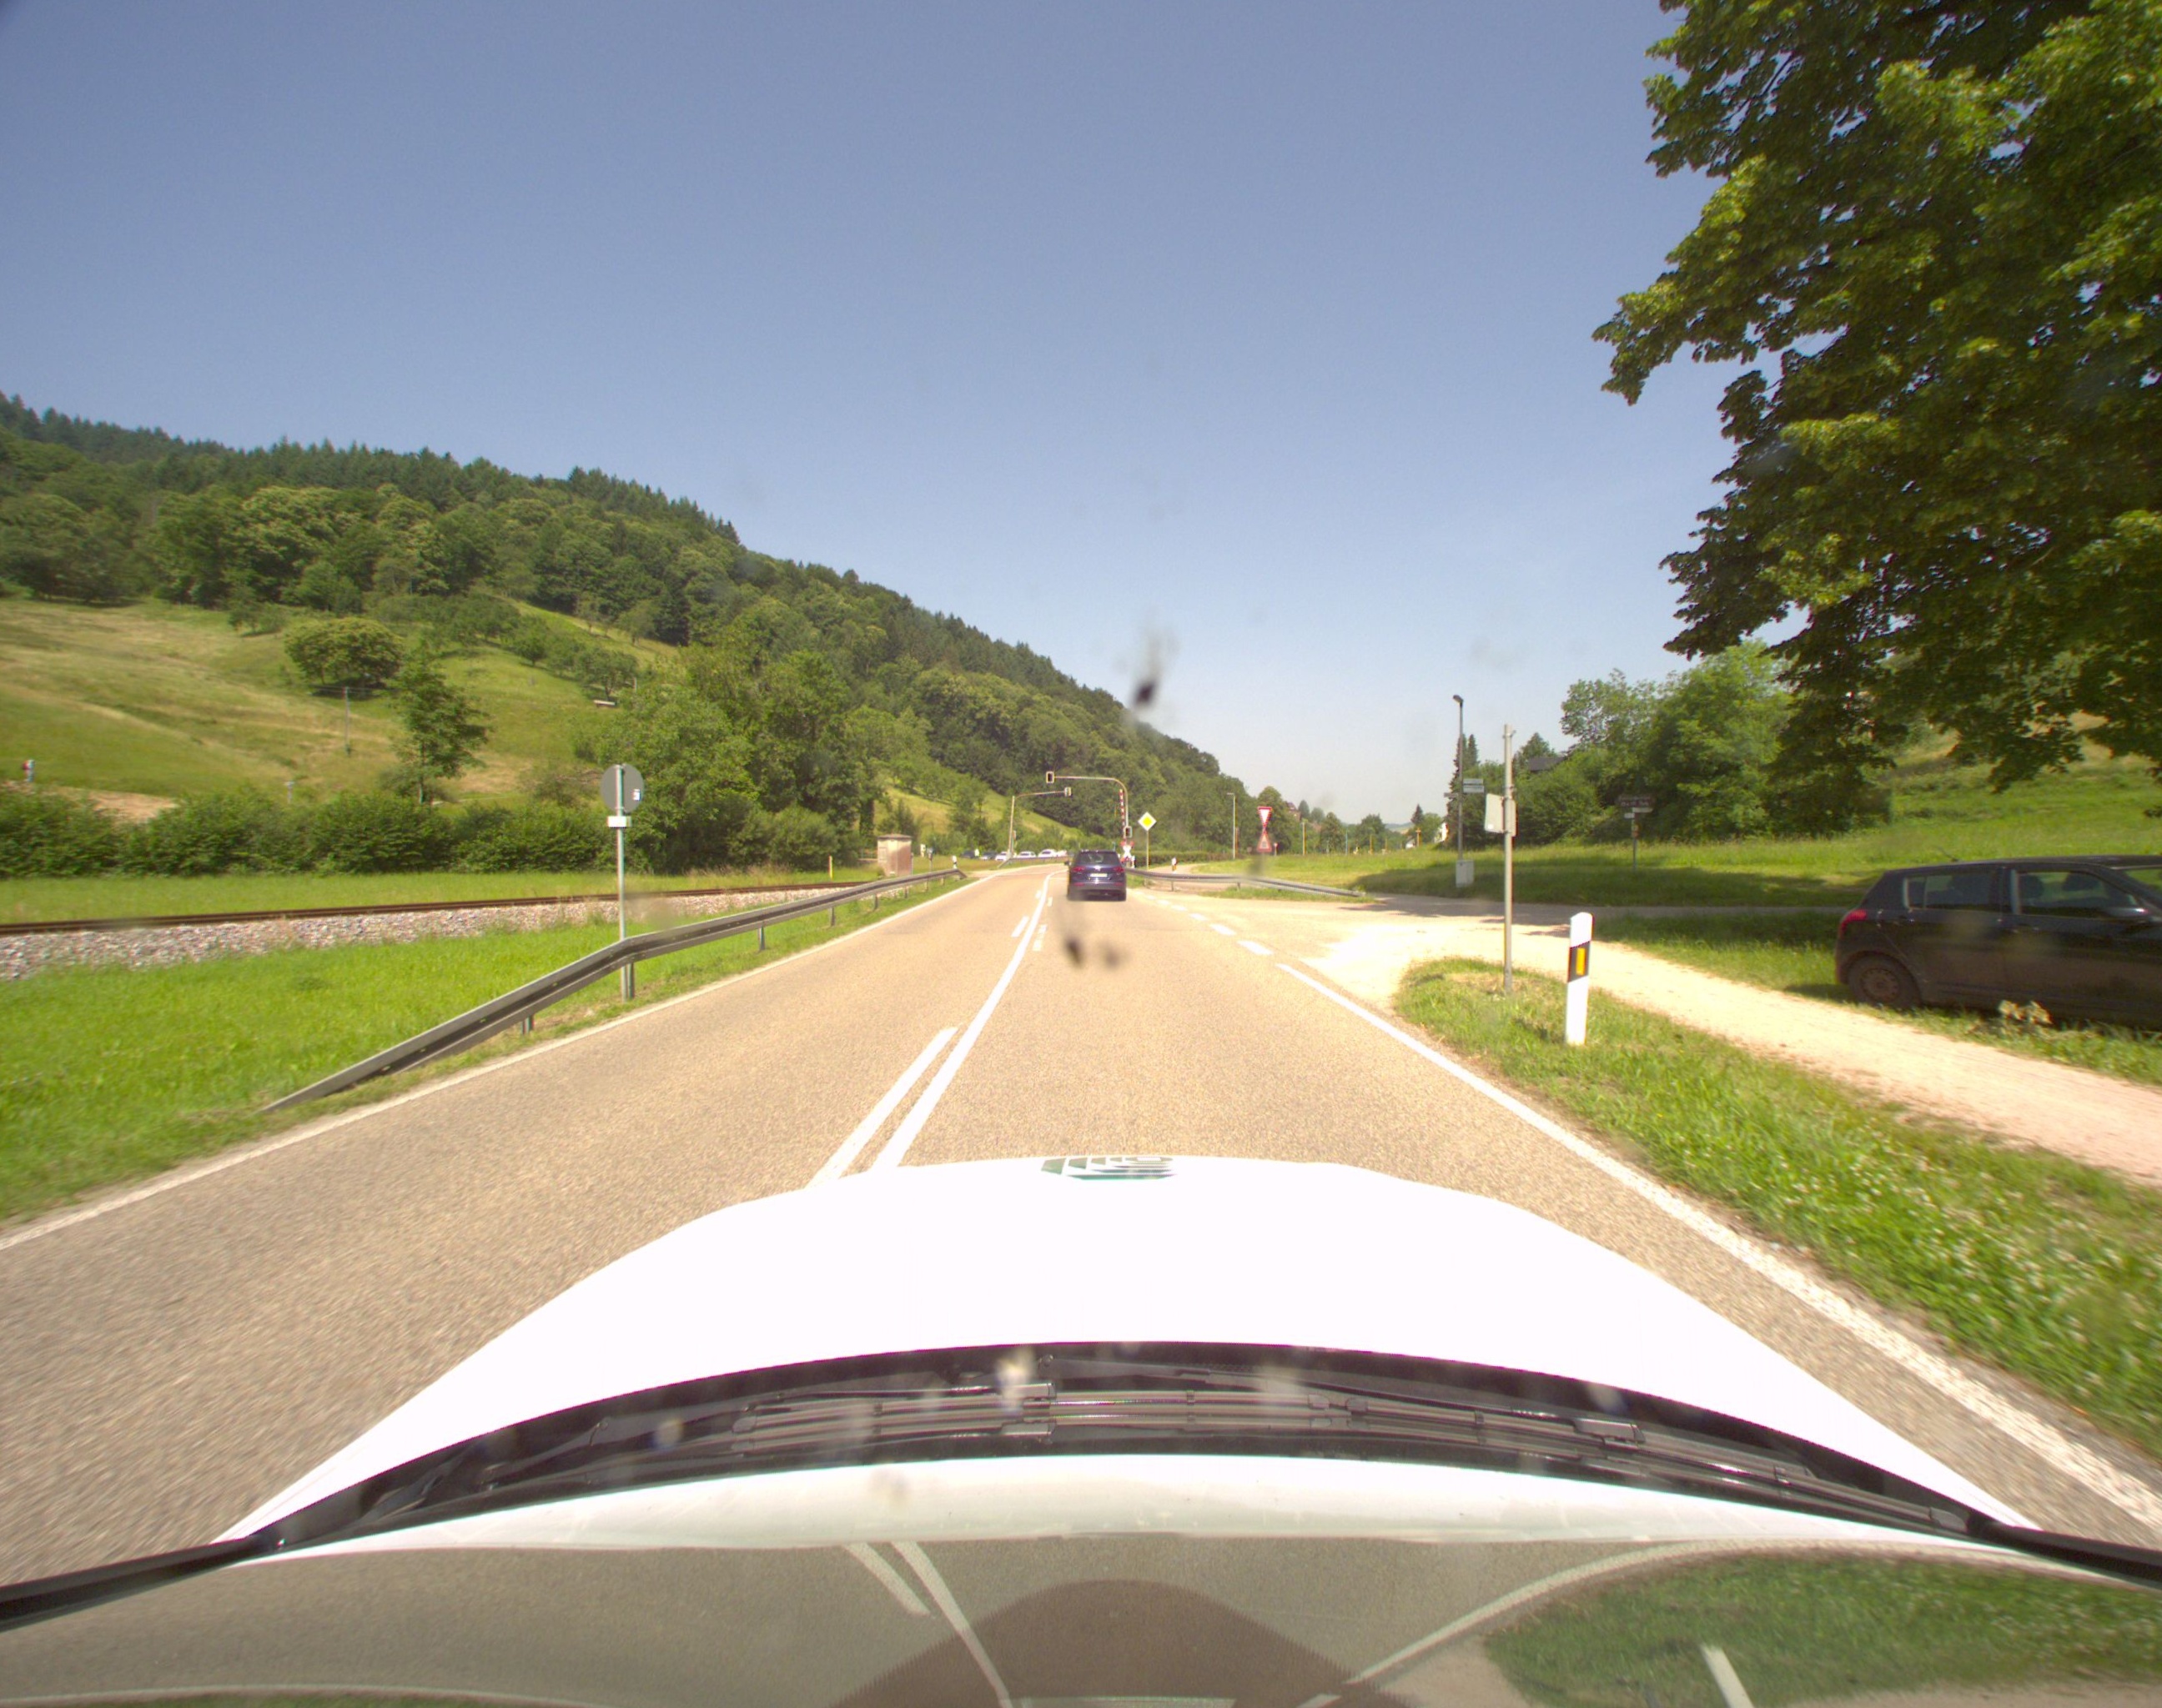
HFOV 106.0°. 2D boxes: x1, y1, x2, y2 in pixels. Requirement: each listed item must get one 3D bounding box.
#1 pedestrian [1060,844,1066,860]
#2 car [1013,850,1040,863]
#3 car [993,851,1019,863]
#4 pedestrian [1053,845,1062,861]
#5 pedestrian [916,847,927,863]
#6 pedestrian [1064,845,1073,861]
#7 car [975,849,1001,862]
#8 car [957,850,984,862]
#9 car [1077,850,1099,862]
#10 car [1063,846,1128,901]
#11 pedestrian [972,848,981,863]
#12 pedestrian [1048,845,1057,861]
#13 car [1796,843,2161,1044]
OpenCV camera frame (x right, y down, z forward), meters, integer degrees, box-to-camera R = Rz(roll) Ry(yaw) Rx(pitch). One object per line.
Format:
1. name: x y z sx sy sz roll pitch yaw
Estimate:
1. pedestrian: -2.136 -0.218 96.545 0.657 1.955 0.533 -1 0 4
2. car: -6.935 0.325 104.488 1.979 1.641 4.921 -1 0 15
3. car: -9.626 0.388 104.666 1.980 1.500 4.537 -1 0 12
4. pedestrian: -2.808 -0.115 97.147 0.761 1.796 0.799 -2 -1 41
5. pedestrian: -19.942 0.153 101.850 1.115 1.969 0.867 -2 -1 30
6. pedestrian: -1.466 -0.163 97.167 0.775 1.859 0.641 -1 -1 -42
7. car: -11.989 0.181 105.536 1.980 1.500 4.537 1 0 12
8. car: -14.379 0.278 106.213 1.980 1.500 4.537 -1 0 12
9. car: 0.912 0.261 101.664 1.814 1.500 4.292 -1 0 12
10. car: 0.400 0.604 26.777 1.848 1.649 4.135 -1 0 -3
11. pedestrian: -12.712 0.232 99.101 0.951 1.794 1.000 -1 0 0
12. pedestrian: -3.391 -0.141 96.344 0.780 1.842 0.702 -1 0 25
13. car: 8.700 0.663 6.895 1.673 1.457 3.703 -3 -1 -10
